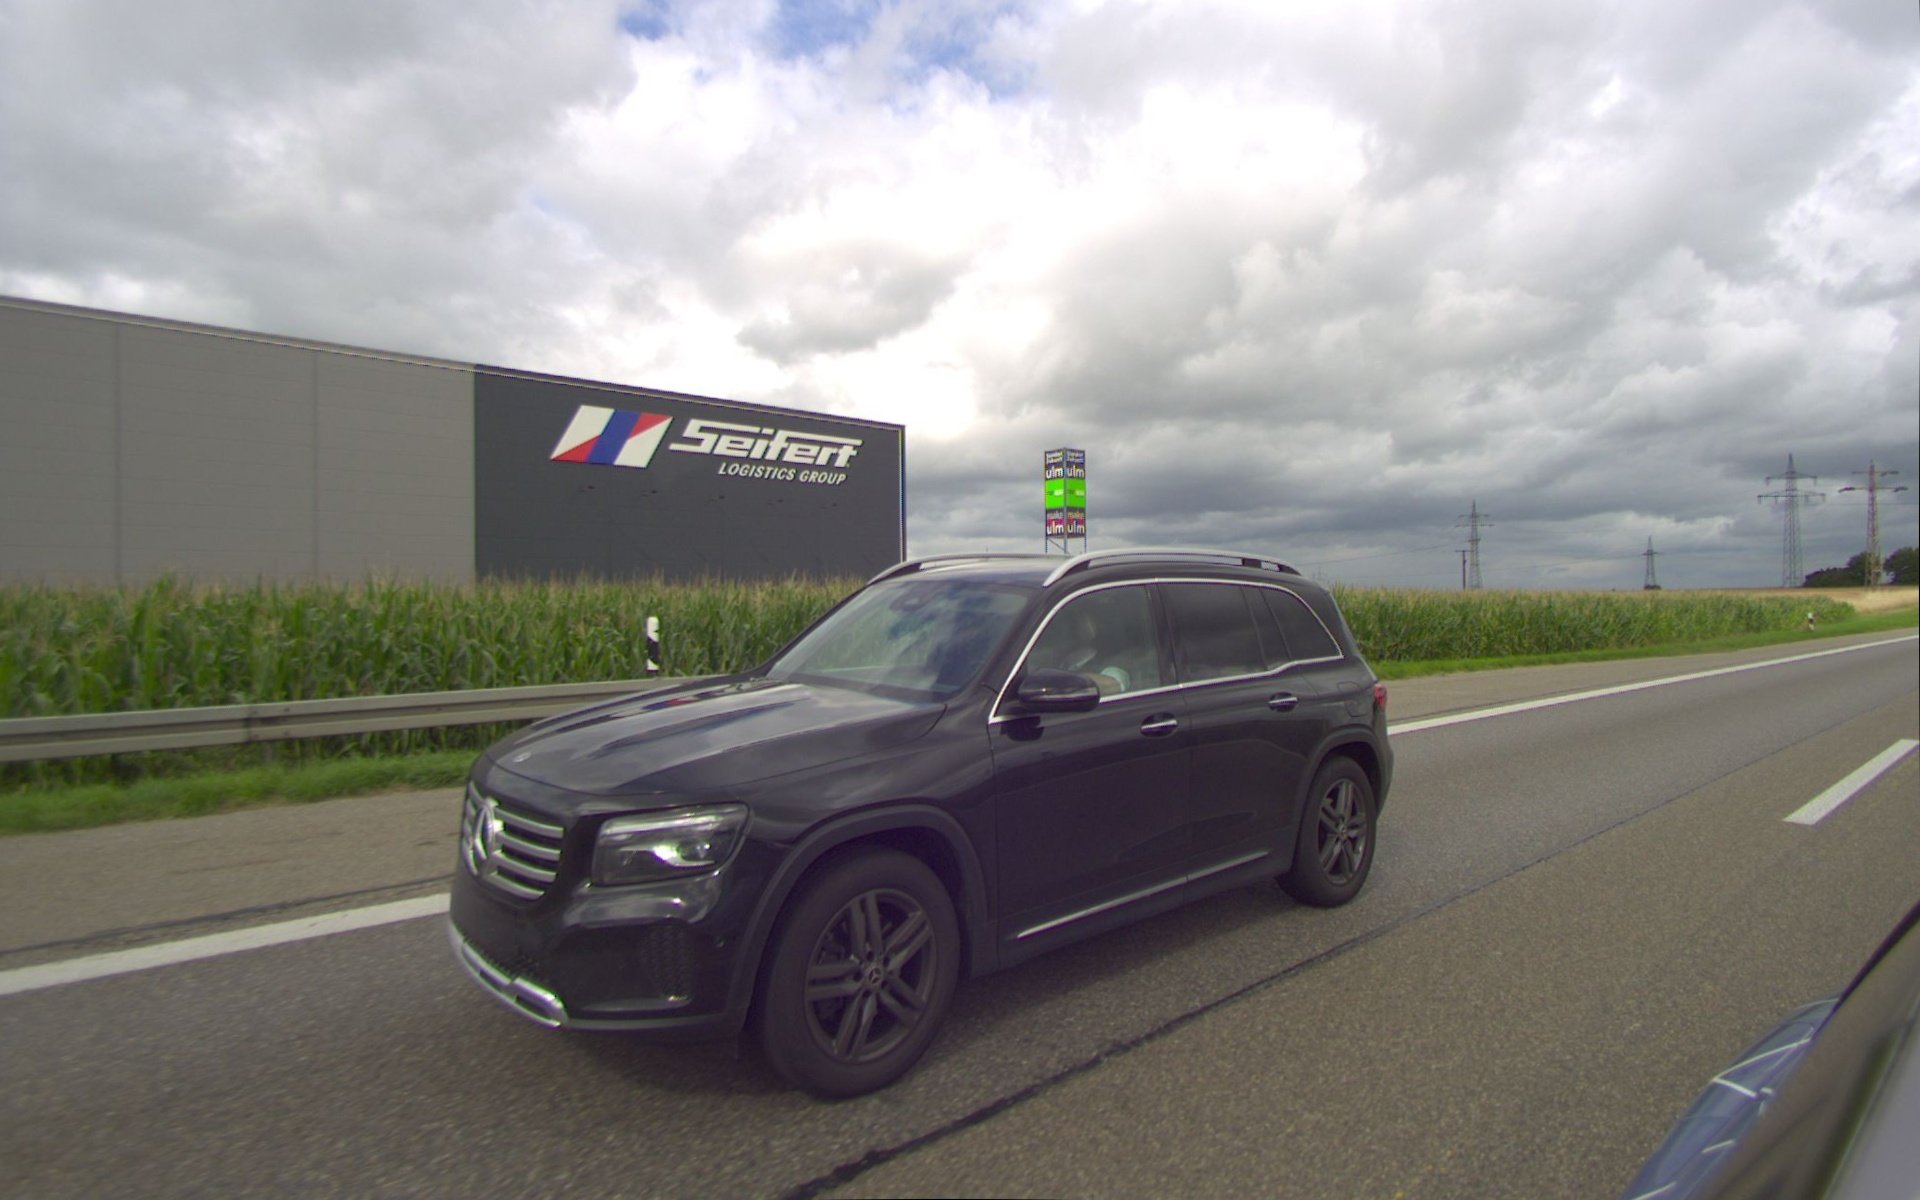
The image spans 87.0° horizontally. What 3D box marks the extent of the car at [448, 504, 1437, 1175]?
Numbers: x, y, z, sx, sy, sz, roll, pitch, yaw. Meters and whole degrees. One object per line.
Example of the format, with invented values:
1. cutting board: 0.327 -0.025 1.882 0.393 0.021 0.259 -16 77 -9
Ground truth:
1. car: 0.256 0.544 4.553 4.284 1.629 1.837 -1 1 -41
